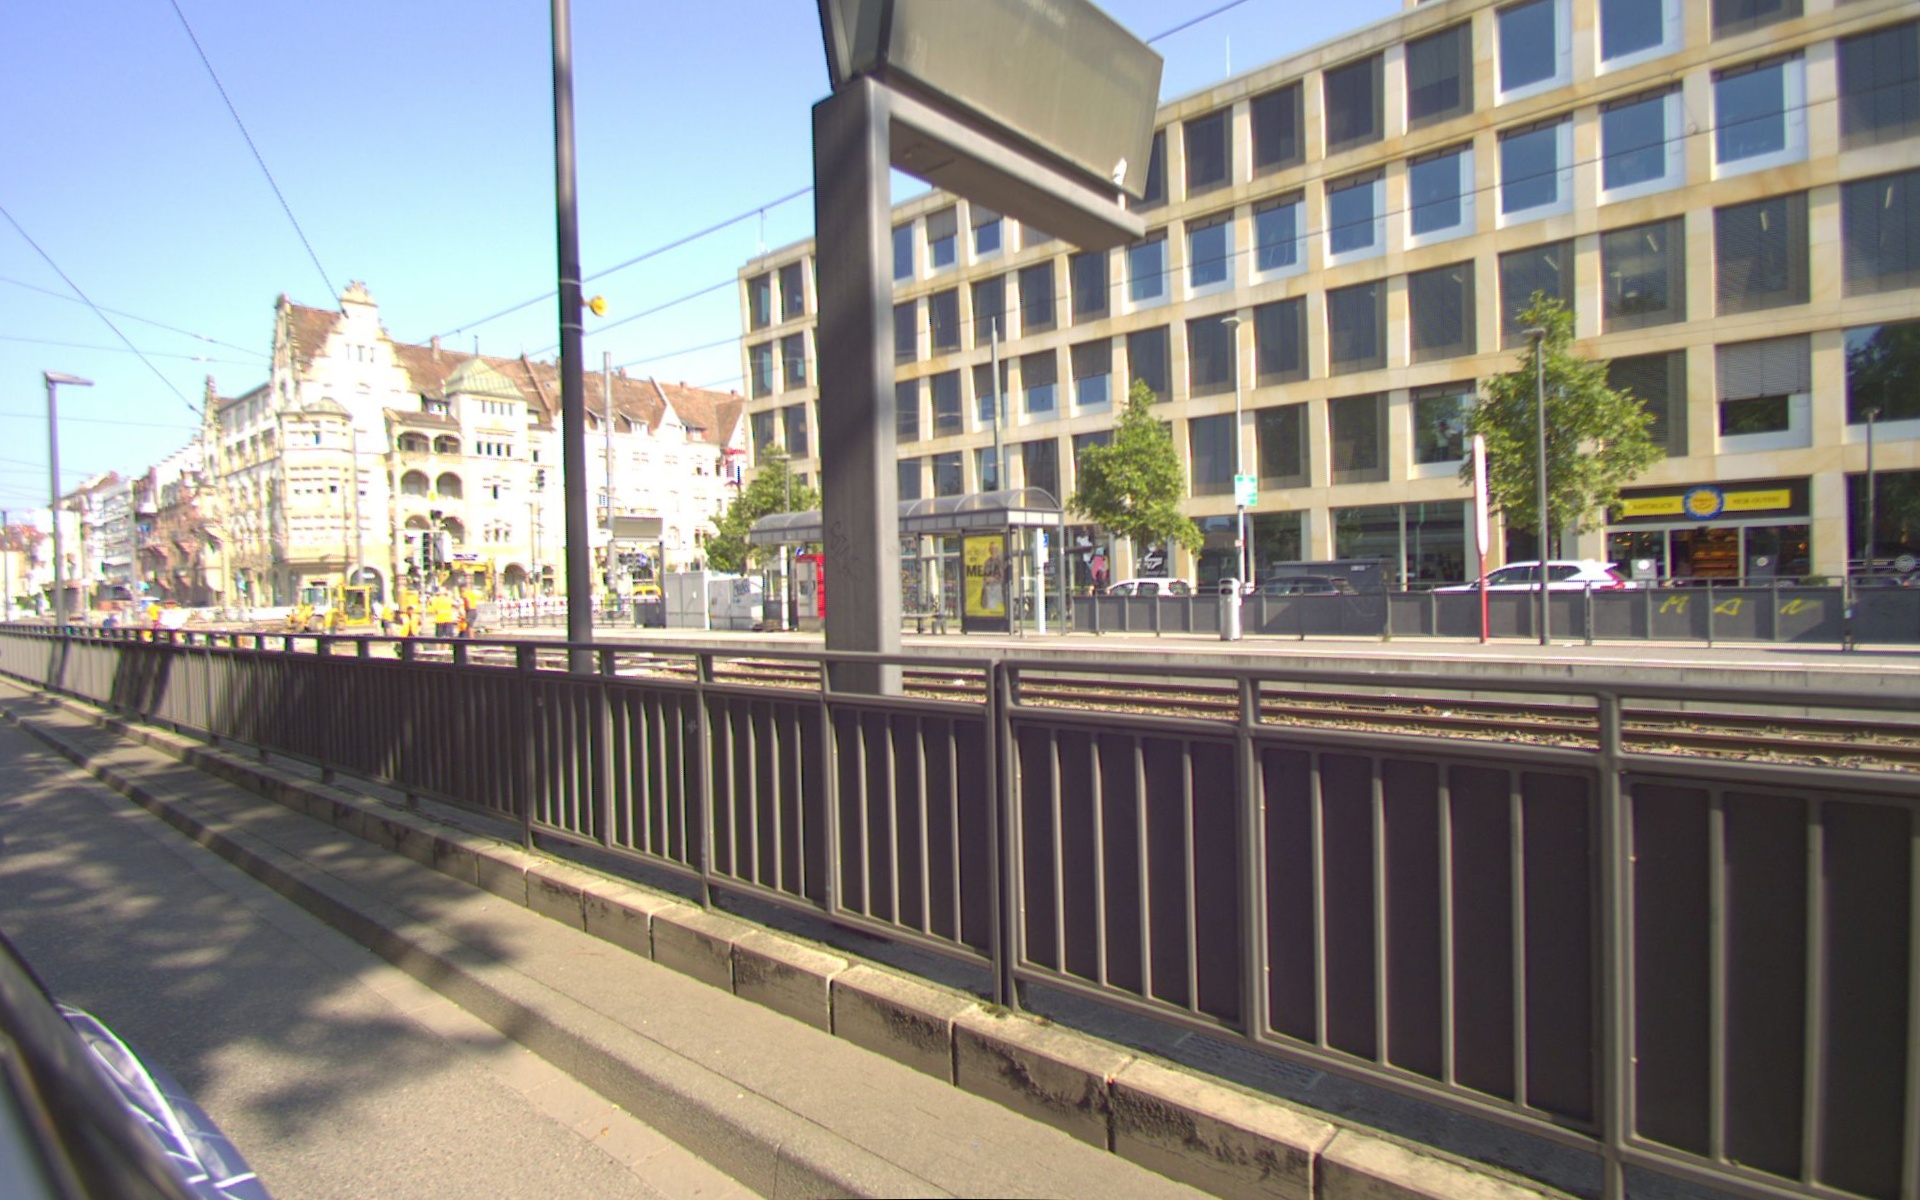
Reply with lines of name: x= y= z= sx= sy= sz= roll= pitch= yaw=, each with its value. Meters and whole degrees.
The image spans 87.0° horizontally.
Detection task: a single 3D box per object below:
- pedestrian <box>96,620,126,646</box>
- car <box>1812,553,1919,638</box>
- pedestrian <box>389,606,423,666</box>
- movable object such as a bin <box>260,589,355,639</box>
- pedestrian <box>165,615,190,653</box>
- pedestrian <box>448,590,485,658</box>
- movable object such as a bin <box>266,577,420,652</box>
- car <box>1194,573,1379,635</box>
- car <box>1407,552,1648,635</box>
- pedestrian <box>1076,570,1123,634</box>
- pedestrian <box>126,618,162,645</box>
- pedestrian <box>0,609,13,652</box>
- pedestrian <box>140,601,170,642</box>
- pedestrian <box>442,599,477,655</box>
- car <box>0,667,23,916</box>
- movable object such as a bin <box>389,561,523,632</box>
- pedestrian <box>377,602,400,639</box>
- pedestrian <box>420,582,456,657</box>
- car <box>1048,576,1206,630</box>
pedestrian: x=-31.390 y=1.218 z=37.427 sx=0.808 sy=0.933 sz=0.513 roll=-2 pitch=0 yaw=-36
car: x=17.131 y=-0.108 z=17.223 sx=3.997 sy=1.418 sz=1.771 roll=-1 pitch=0 yaw=41
pedestrian: x=-15.941 y=1.034 z=29.144 sx=0.657 sy=1.675 sz=0.774 roll=-2 pitch=0 yaw=-15
movable object such as a bin: x=-39.248 y=0.781 z=61.024 sx=2.418 sy=2.855 sz=4.811 roll=-1 pitch=1 yaw=4
pedestrian: x=-33.757 y=1.467 z=43.667 sx=0.555 sy=1.578 sz=0.694 roll=-2 pitch=0 yaw=35
pedestrian: x=-13.637 y=0.656 z=27.971 sx=0.634 sy=1.829 sz=0.625 roll=-2 pitch=0 yaw=9
movable object such as a bin: x=-28.258 y=0.548 z=46.195 sx=8.473 sy=2.979 sz=3.576 roll=0 pitch=3 yaw=41
car: x=8.125 y=0.105 z=25.380 sx=3.997 sy=1.414 sz=1.882 roll=-1 pitch=0 yaw=41
car: x=12.203 y=-0.111 z=21.912 sx=4.315 sy=1.638 sz=1.772 roll=-1 pitch=0 yaw=39
pedestrian: x=3.740 y=0.048 z=27.110 sx=0.826 sy=1.689 sz=0.881 roll=-2 pitch=0 yaw=-40
pedestrian: x=-31.118 y=1.188 z=38.615 sx=0.921 sy=0.996 sz=0.512 roll=-2 pitch=0 yaw=-3
pedestrian: x=-35.731 y=1.130 z=37.563 sx=0.691 sy=1.578 sz=0.752 roll=-2 pitch=0 yaw=41
pedestrian: x=-31.677 y=0.839 z=39.841 sx=0.804 sy=1.578 sz=0.558 roll=-2 pitch=0 yaw=-30
pedestrian: x=-14.346 y=0.757 z=29.020 sx=0.620 sy=1.566 sz=0.638 roll=-2 pitch=0 yaw=15
car: x=-6.669 y=0.590 z=5.369 sx=4.175 sy=1.900 sz=1.831 roll=0 pitch=4 yaw=39
movable object such as a bin: x=-33.538 y=-0.332 z=67.341 sx=7.260 sy=4.379 sz=4.982 roll=-2 pitch=2 yaw=-36
pedestrian: x=-28.459 y=1.010 z=50.395 sx=0.820 sy=1.762 sz=0.670 roll=-2 pitch=0 yaw=-19
pedestrian: x=-13.907 y=0.510 z=26.975 sx=0.713 sy=1.965 sz=0.790 roll=-2 pitch=0 yaw=-34
car: x=4.660 y=0.100 z=28.533 sx=3.997 sy=1.414 sz=1.882 roll=-1 pitch=0 yaw=41
